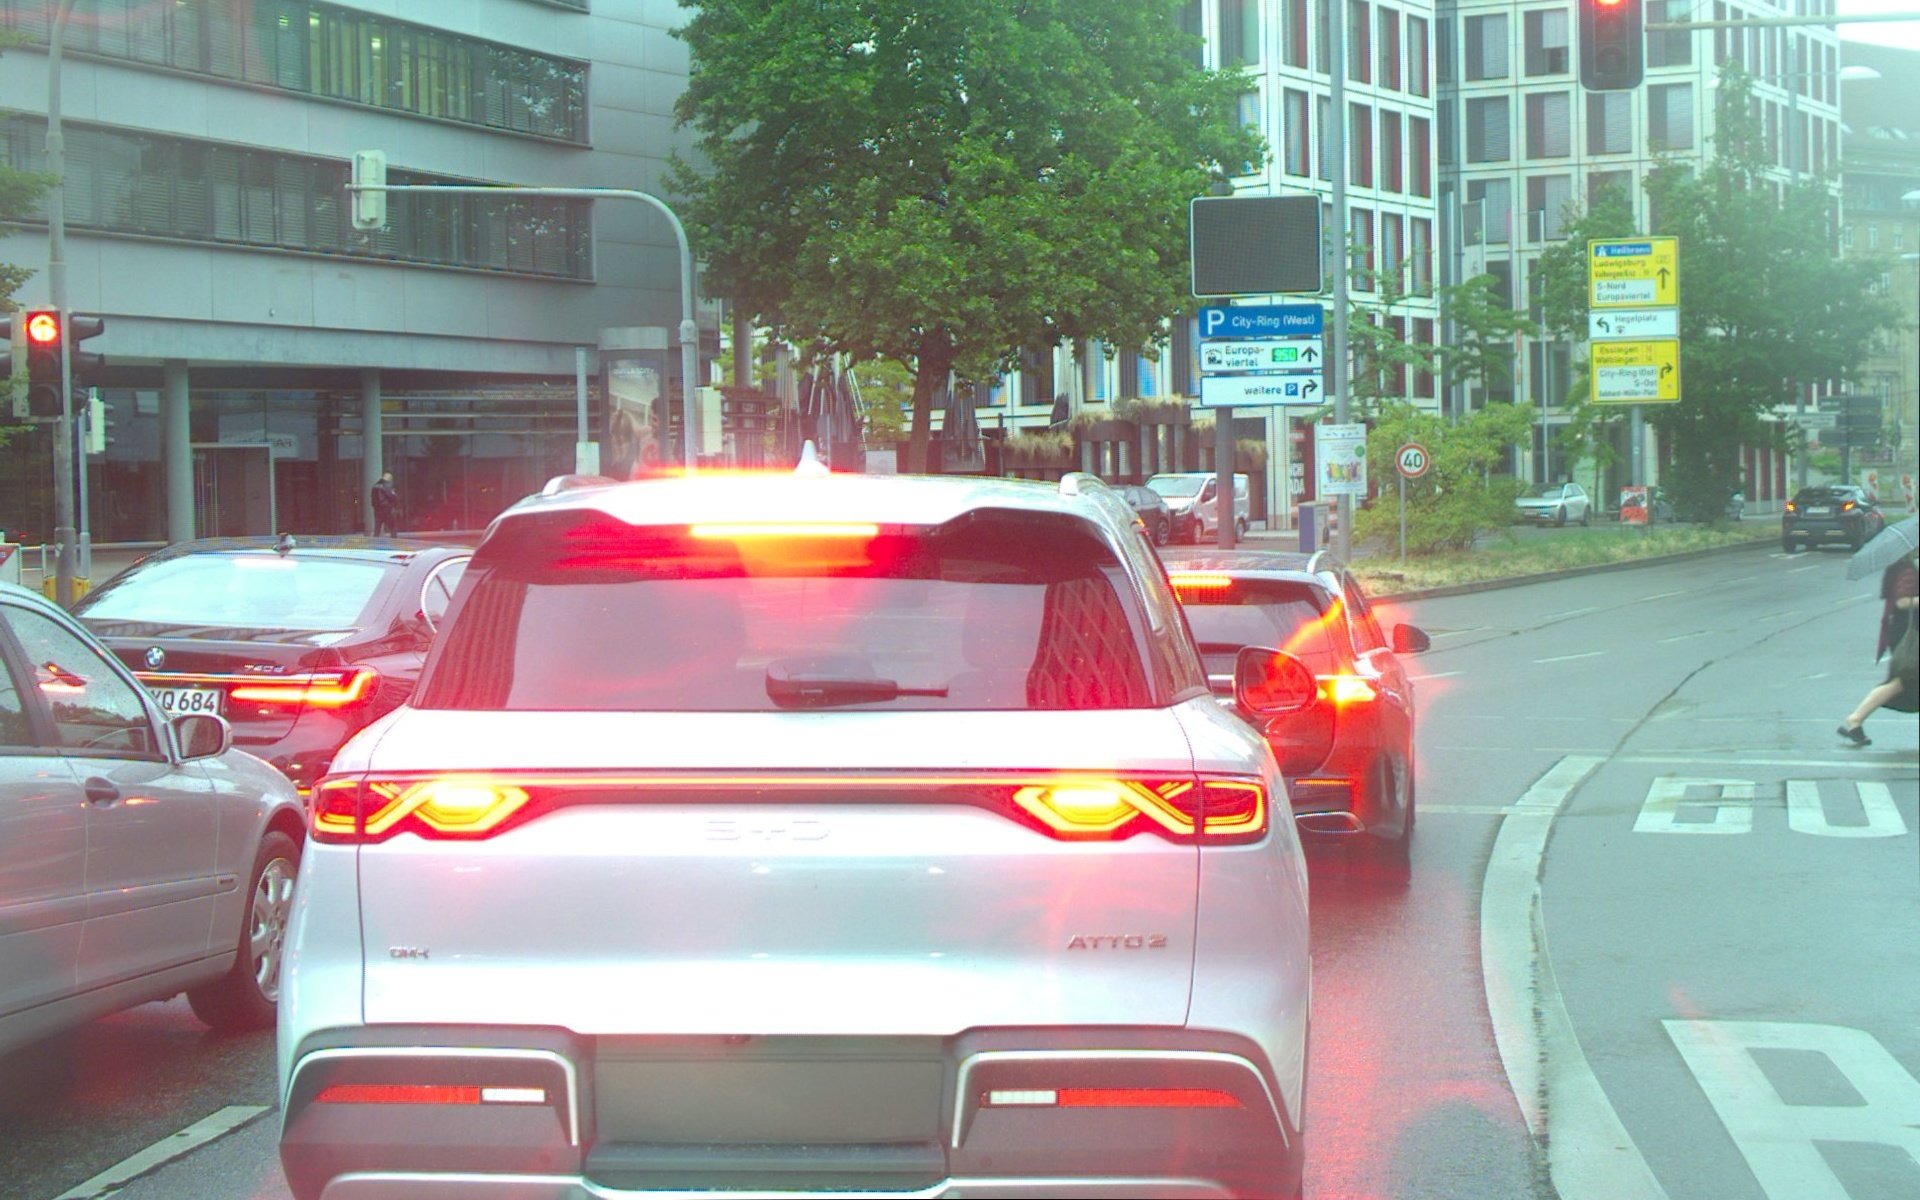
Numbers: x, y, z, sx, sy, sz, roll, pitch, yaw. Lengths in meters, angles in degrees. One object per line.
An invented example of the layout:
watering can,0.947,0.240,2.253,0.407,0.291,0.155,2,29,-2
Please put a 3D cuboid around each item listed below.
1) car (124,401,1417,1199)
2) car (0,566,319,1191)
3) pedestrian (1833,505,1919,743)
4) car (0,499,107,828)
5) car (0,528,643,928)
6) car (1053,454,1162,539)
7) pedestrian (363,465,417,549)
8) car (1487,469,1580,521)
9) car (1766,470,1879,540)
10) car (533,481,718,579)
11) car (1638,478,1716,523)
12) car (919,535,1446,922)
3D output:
car,-0.228,0.500,7.611,1.993,1.703,4.483,-1,2,2
car,-3.116,0.686,8.973,1.682,1.481,4.196,0,1,6
pedestrian,7.038,0.164,25.452,0.921,1.732,0.730,0,1,-5
car,-5.734,0.318,16.011,1.886,1.590,3.998,0,1,12
car,-2.910,0.449,15.378,1.956,1.525,3.998,0,1,11
car,3.905,-2.695,90.403,1.739,2.154,4.490,1,1,18
pedestrian,-11.722,-1.902,70.742,0.728,1.721,0.924,0,1,21
car,19.969,-3.660,119.506,1.996,1.700,4.303,1,3,27
car,19.924,-2.193,79.345,1.996,1.546,3.996,2,2,22
car,-6.235,-1.336,64.520,1.995,1.700,3.997,1,3,19
car,28.859,-4.002,138.275,1.996,1.700,4.303,1,3,27
car,1.164,0.473,15.877,1.956,1.525,3.998,0,1,11
